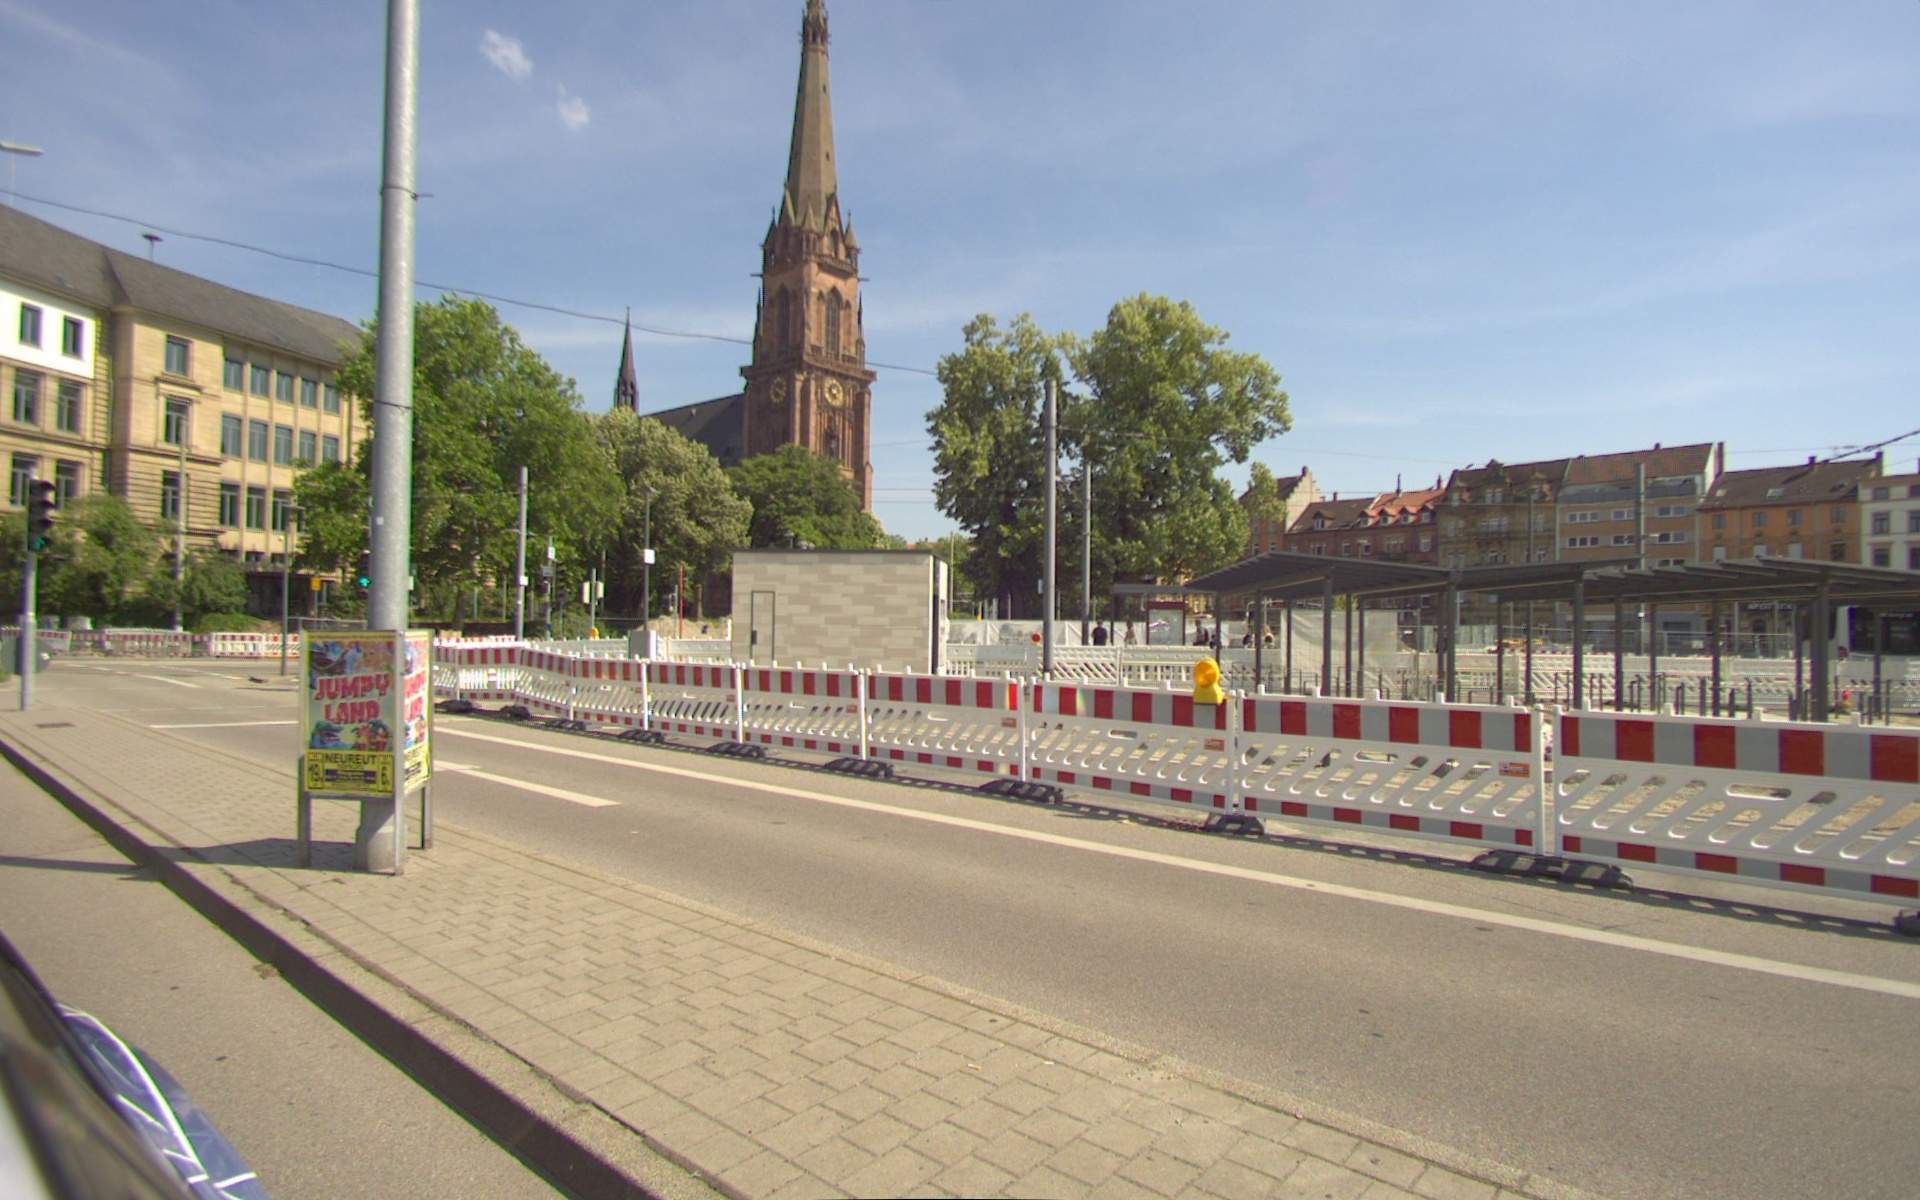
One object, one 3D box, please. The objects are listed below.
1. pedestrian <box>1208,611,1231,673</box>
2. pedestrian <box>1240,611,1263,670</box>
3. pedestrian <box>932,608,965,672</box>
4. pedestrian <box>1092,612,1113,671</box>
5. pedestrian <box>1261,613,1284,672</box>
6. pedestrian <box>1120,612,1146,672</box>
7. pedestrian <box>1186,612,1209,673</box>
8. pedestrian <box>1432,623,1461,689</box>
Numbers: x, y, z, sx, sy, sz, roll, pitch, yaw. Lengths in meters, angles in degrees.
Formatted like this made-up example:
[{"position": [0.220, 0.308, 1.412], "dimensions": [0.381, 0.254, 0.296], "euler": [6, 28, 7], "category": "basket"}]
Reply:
[{"position": [8.765, 1.416, 34.185], "dimensions": [0.679, 2.029, 0.818], "euler": [0, -2, 11], "category": "pedestrian"}, {"position": [10.077, 1.400, 34.995], "dimensions": [0.679, 2.029, 0.818], "euler": [0, -2, 11], "category": "pedestrian"}, {"position": [-0.364, 1.306, 33.042], "dimensions": [0.686, 2.029, 0.809], "euler": [-1, -3, 43], "category": "pedestrian"}, {"position": [4.923, 1.438, 35.058], "dimensions": [0.678, 2.029, 0.819], "euler": [1, -2, 7], "category": "pedestrian"}, {"position": [10.930, 1.477, 35.382], "dimensions": [0.679, 2.029, 0.818], "euler": [0, -2, 11], "category": "pedestrian"}, {"position": [5.961, 1.428, 34.856], "dimensions": [0.810, 2.029, 0.685], "euler": [1, -2, 6], "category": "pedestrian"}, {"position": [8.044, 1.431, 34.289], "dimensions": [0.679, 2.029, 0.818], "euler": [0, -2, 11], "category": "pedestrian"}, {"position": [15.357, 1.764, 31.942], "dimensions": [0.680, 2.029, 0.816], "euler": [0, -2, 16], "category": "pedestrian"}]
